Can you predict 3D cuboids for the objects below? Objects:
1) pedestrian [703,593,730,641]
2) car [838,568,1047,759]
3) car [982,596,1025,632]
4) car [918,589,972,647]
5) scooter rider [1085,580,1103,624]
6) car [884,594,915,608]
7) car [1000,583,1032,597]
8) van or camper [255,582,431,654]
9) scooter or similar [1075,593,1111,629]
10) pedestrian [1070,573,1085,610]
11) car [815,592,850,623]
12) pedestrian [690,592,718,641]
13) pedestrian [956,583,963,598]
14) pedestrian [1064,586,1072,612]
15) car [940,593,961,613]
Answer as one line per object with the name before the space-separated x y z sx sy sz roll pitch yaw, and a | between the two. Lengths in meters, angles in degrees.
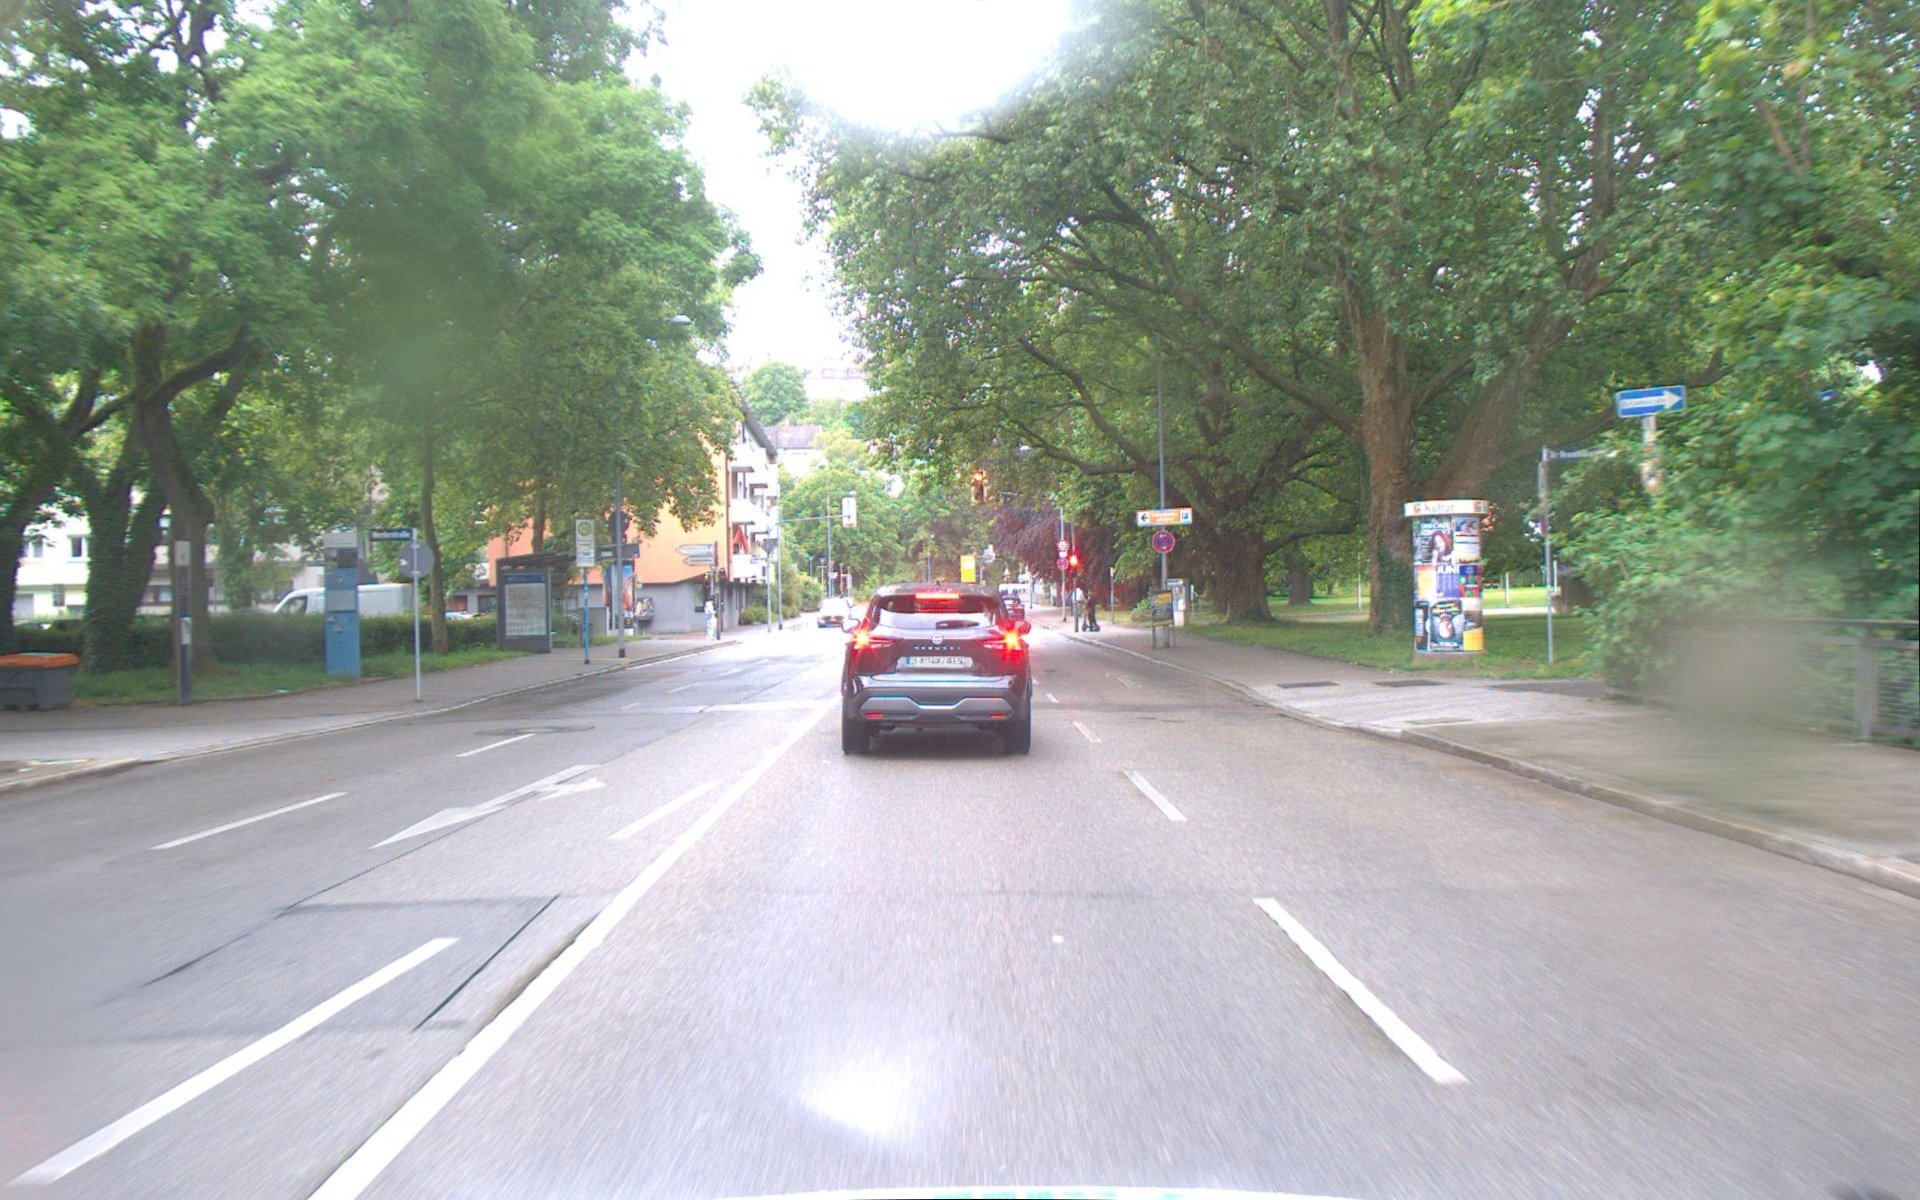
pedestrian | -9.745 0.674 66.100 1.017 1.909 0.656 0 0 -12
car | -0.170 0.562 16.882 1.874 1.709 4.000 0 0 -1
car | 2.223 0.700 83.095 1.951 1.765 4.002 1 0 4
car | -0.500 0.569 54.187 1.664 1.776 3.640 -2 0 -1
scooter rider | 5.581 0.078 68.964 0.629 1.797 0.736 -1 -1 11
car | -7.849 0.135 215.329 3.906 1.697 1.701 1 0 -1
car | 7.364 -1.298 217.135 3.941 1.697 1.698 1 0 -10
van or camper | -18.523 0.526 49.794 4.504 1.983 1.999 -1 0 -3
scooter or similar | 5.544 0.463 68.962 1.364 1.471 0.818 -1 -1 12
pedestrian | 6.616 -0.473 93.288 0.710 2.049 0.851 -2 0 -1
car | -6.877 0.395 89.473 1.760 1.560 3.864 -2 0 -4
pedestrian | -10.095 0.662 65.206 1.017 1.909 0.656 0 0 -12
pedestrian | -0.024 -1.036 180.657 0.498 1.702 0.658 -2 0 27
pedestrian | 6.375 -0.072 97.609 0.382 1.528 0.559 -2 0 -1
car | -0.740 0.246 132.672 1.601 1.559 3.967 -2 0 -1
